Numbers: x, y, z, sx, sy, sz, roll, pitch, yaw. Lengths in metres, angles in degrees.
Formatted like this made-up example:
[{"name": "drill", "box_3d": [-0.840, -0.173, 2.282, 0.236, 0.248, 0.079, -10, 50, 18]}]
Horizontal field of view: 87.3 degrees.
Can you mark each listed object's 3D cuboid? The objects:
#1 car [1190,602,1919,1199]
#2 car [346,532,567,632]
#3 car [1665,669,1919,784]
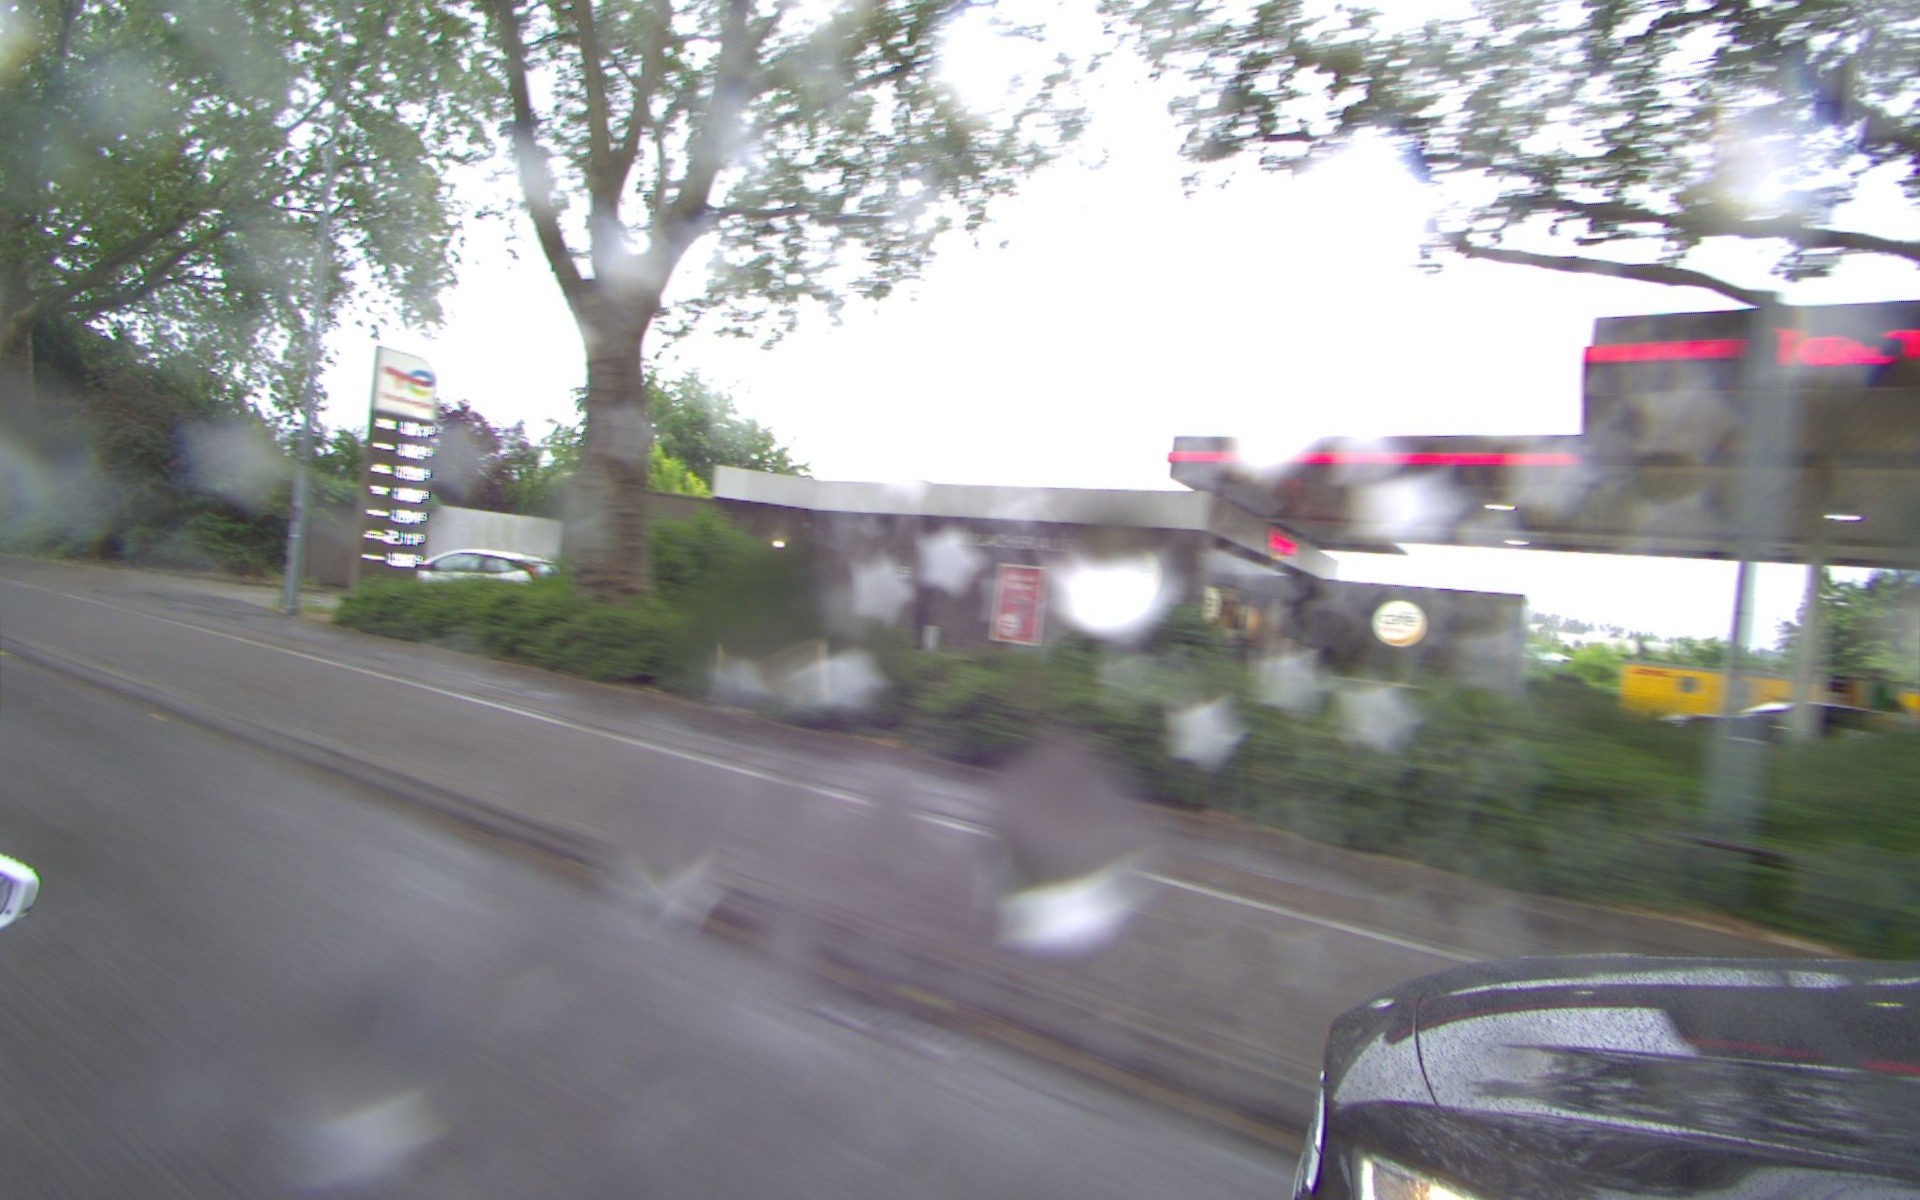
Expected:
[{"name": "car", "box_3d": [2.654, 1.004, 1.108, 4.349, 1.548, 1.819, 5, -1, 32]}, {"name": "car", "box_3d": [-10.017, -0.322, 20.255, 3.497, 1.448, 1.606, 8, -1, -10]}, {"name": "car", "box_3d": [16.532, 2.464, 20.019, 3.815, 1.611, 1.832, 6, -2, 32]}]
